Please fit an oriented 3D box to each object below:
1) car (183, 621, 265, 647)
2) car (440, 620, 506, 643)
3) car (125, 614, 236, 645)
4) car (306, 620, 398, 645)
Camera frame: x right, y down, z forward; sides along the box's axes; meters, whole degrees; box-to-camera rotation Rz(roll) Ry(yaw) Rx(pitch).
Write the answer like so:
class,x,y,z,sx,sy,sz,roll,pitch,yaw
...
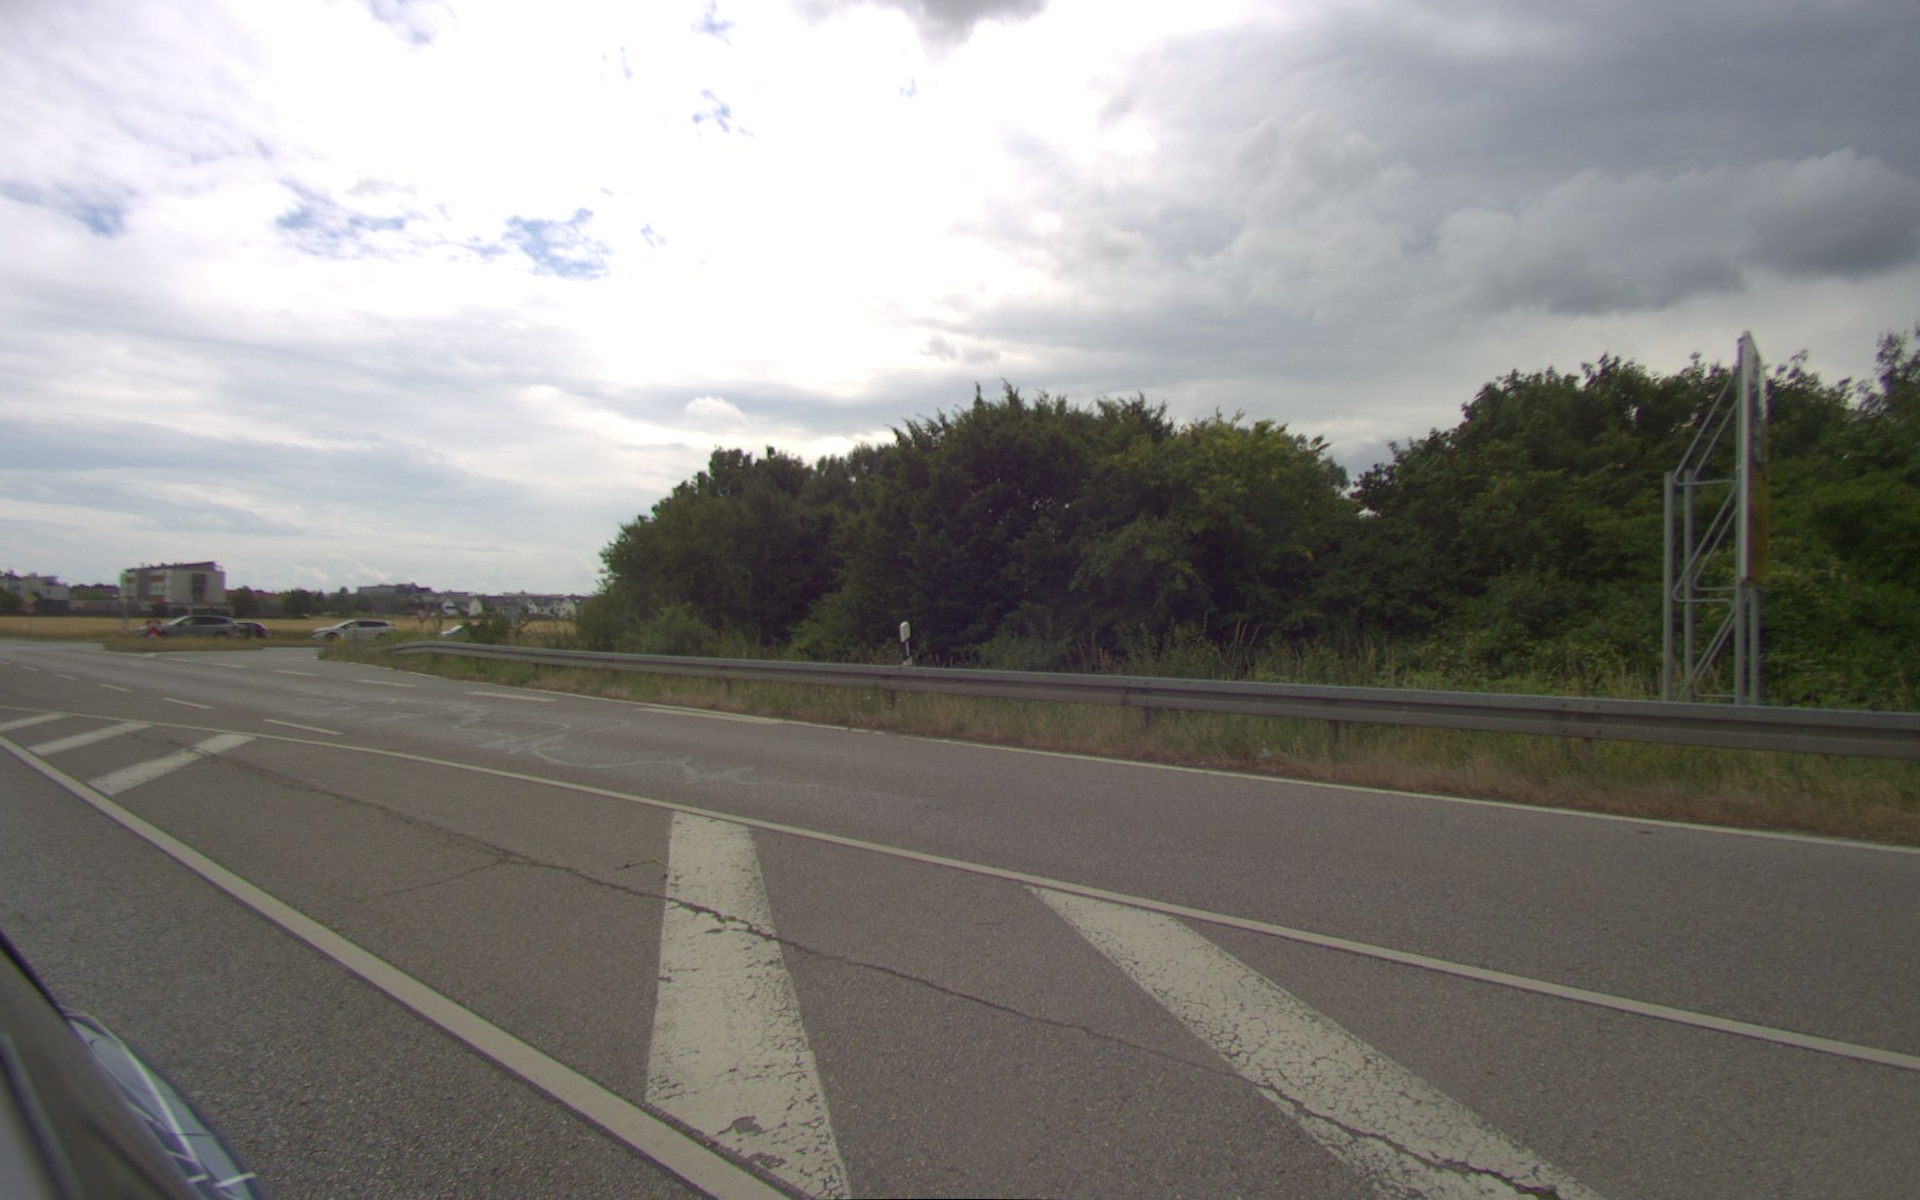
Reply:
class,x,y,z,sx,sy,sz,roll,pitch,yaw
car,-44.280,2.015,60.914,3.779,1.501,2.002,1,-2,-42
car,-32.710,2.080,68.076,3.662,1.510,1.732,1,-2,-42
car,-44.152,1.638,57.389,2.000,1.702,4.749,-1,-2,43
car,-37.831,1.995,63.023,4.607,1.510,2.002,1,-2,-42
